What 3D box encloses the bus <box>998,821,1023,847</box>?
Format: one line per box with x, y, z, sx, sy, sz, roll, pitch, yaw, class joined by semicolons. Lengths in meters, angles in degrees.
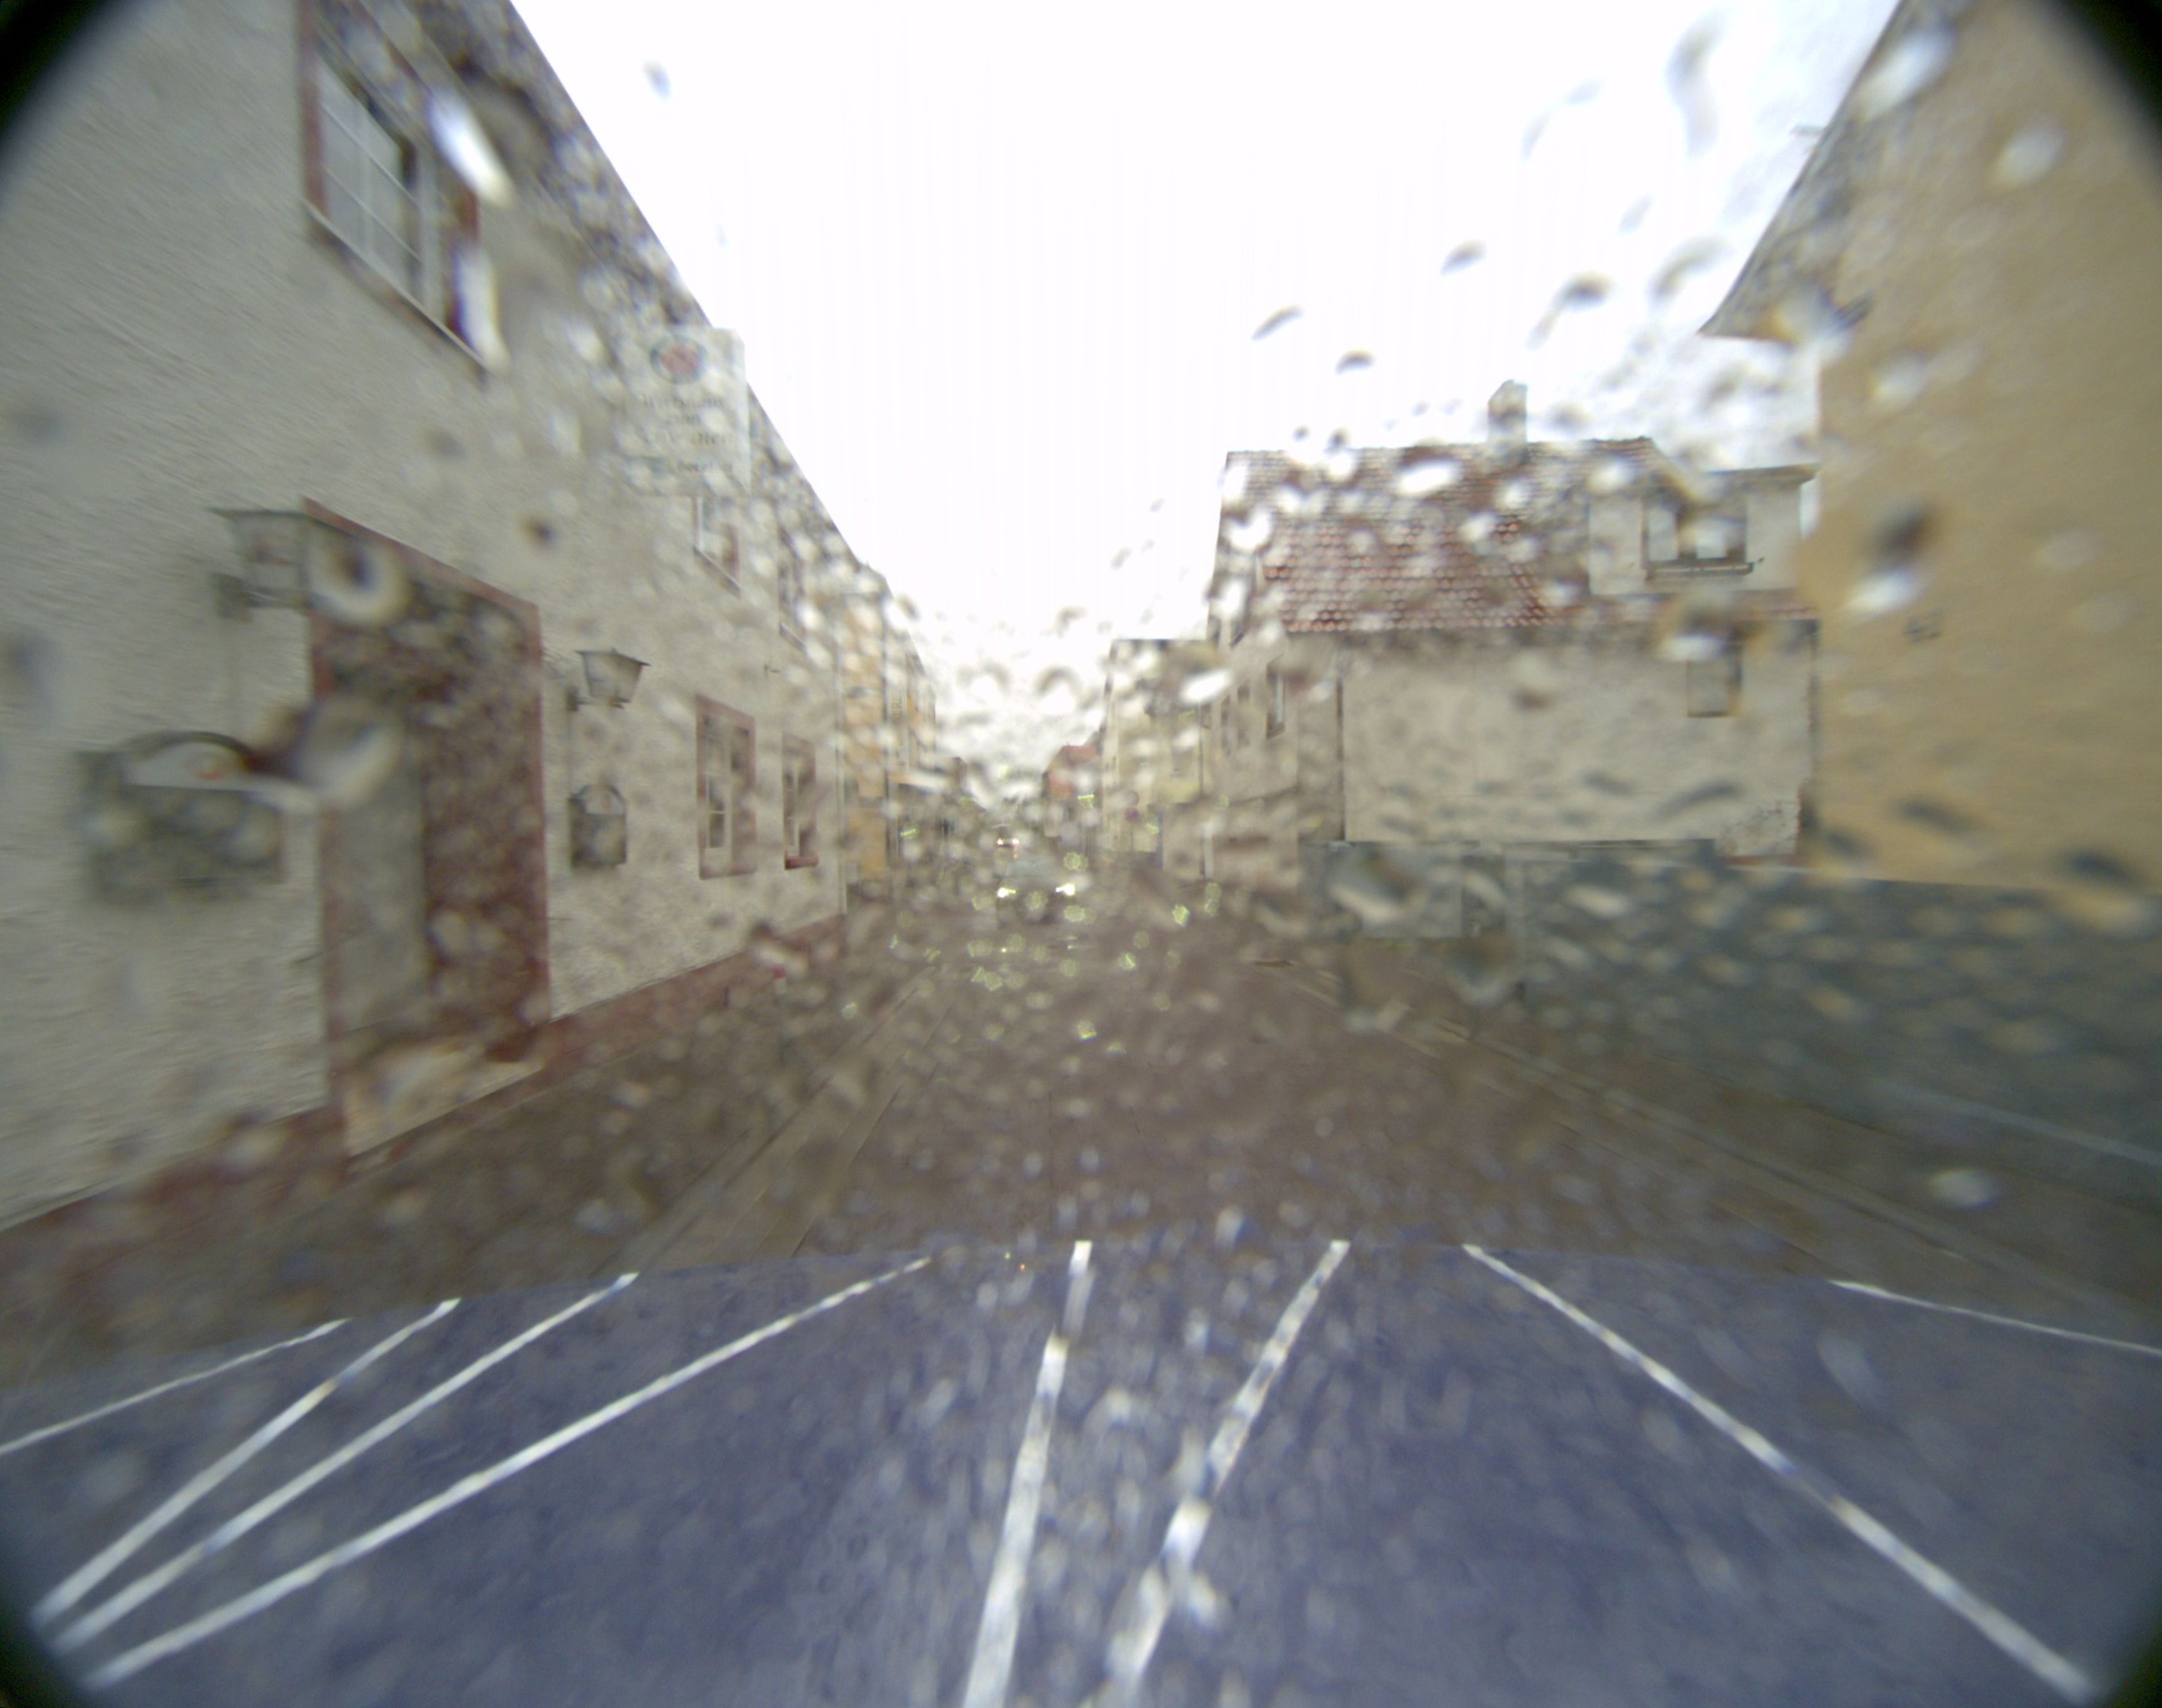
-10.497;-3.012;112.072;2.894;3.590;11.966;-2;2;-9;bus

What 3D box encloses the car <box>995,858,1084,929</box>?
-0.912;0.838;17.802;1.801;1.342;3.737;-3;1;-1;car
